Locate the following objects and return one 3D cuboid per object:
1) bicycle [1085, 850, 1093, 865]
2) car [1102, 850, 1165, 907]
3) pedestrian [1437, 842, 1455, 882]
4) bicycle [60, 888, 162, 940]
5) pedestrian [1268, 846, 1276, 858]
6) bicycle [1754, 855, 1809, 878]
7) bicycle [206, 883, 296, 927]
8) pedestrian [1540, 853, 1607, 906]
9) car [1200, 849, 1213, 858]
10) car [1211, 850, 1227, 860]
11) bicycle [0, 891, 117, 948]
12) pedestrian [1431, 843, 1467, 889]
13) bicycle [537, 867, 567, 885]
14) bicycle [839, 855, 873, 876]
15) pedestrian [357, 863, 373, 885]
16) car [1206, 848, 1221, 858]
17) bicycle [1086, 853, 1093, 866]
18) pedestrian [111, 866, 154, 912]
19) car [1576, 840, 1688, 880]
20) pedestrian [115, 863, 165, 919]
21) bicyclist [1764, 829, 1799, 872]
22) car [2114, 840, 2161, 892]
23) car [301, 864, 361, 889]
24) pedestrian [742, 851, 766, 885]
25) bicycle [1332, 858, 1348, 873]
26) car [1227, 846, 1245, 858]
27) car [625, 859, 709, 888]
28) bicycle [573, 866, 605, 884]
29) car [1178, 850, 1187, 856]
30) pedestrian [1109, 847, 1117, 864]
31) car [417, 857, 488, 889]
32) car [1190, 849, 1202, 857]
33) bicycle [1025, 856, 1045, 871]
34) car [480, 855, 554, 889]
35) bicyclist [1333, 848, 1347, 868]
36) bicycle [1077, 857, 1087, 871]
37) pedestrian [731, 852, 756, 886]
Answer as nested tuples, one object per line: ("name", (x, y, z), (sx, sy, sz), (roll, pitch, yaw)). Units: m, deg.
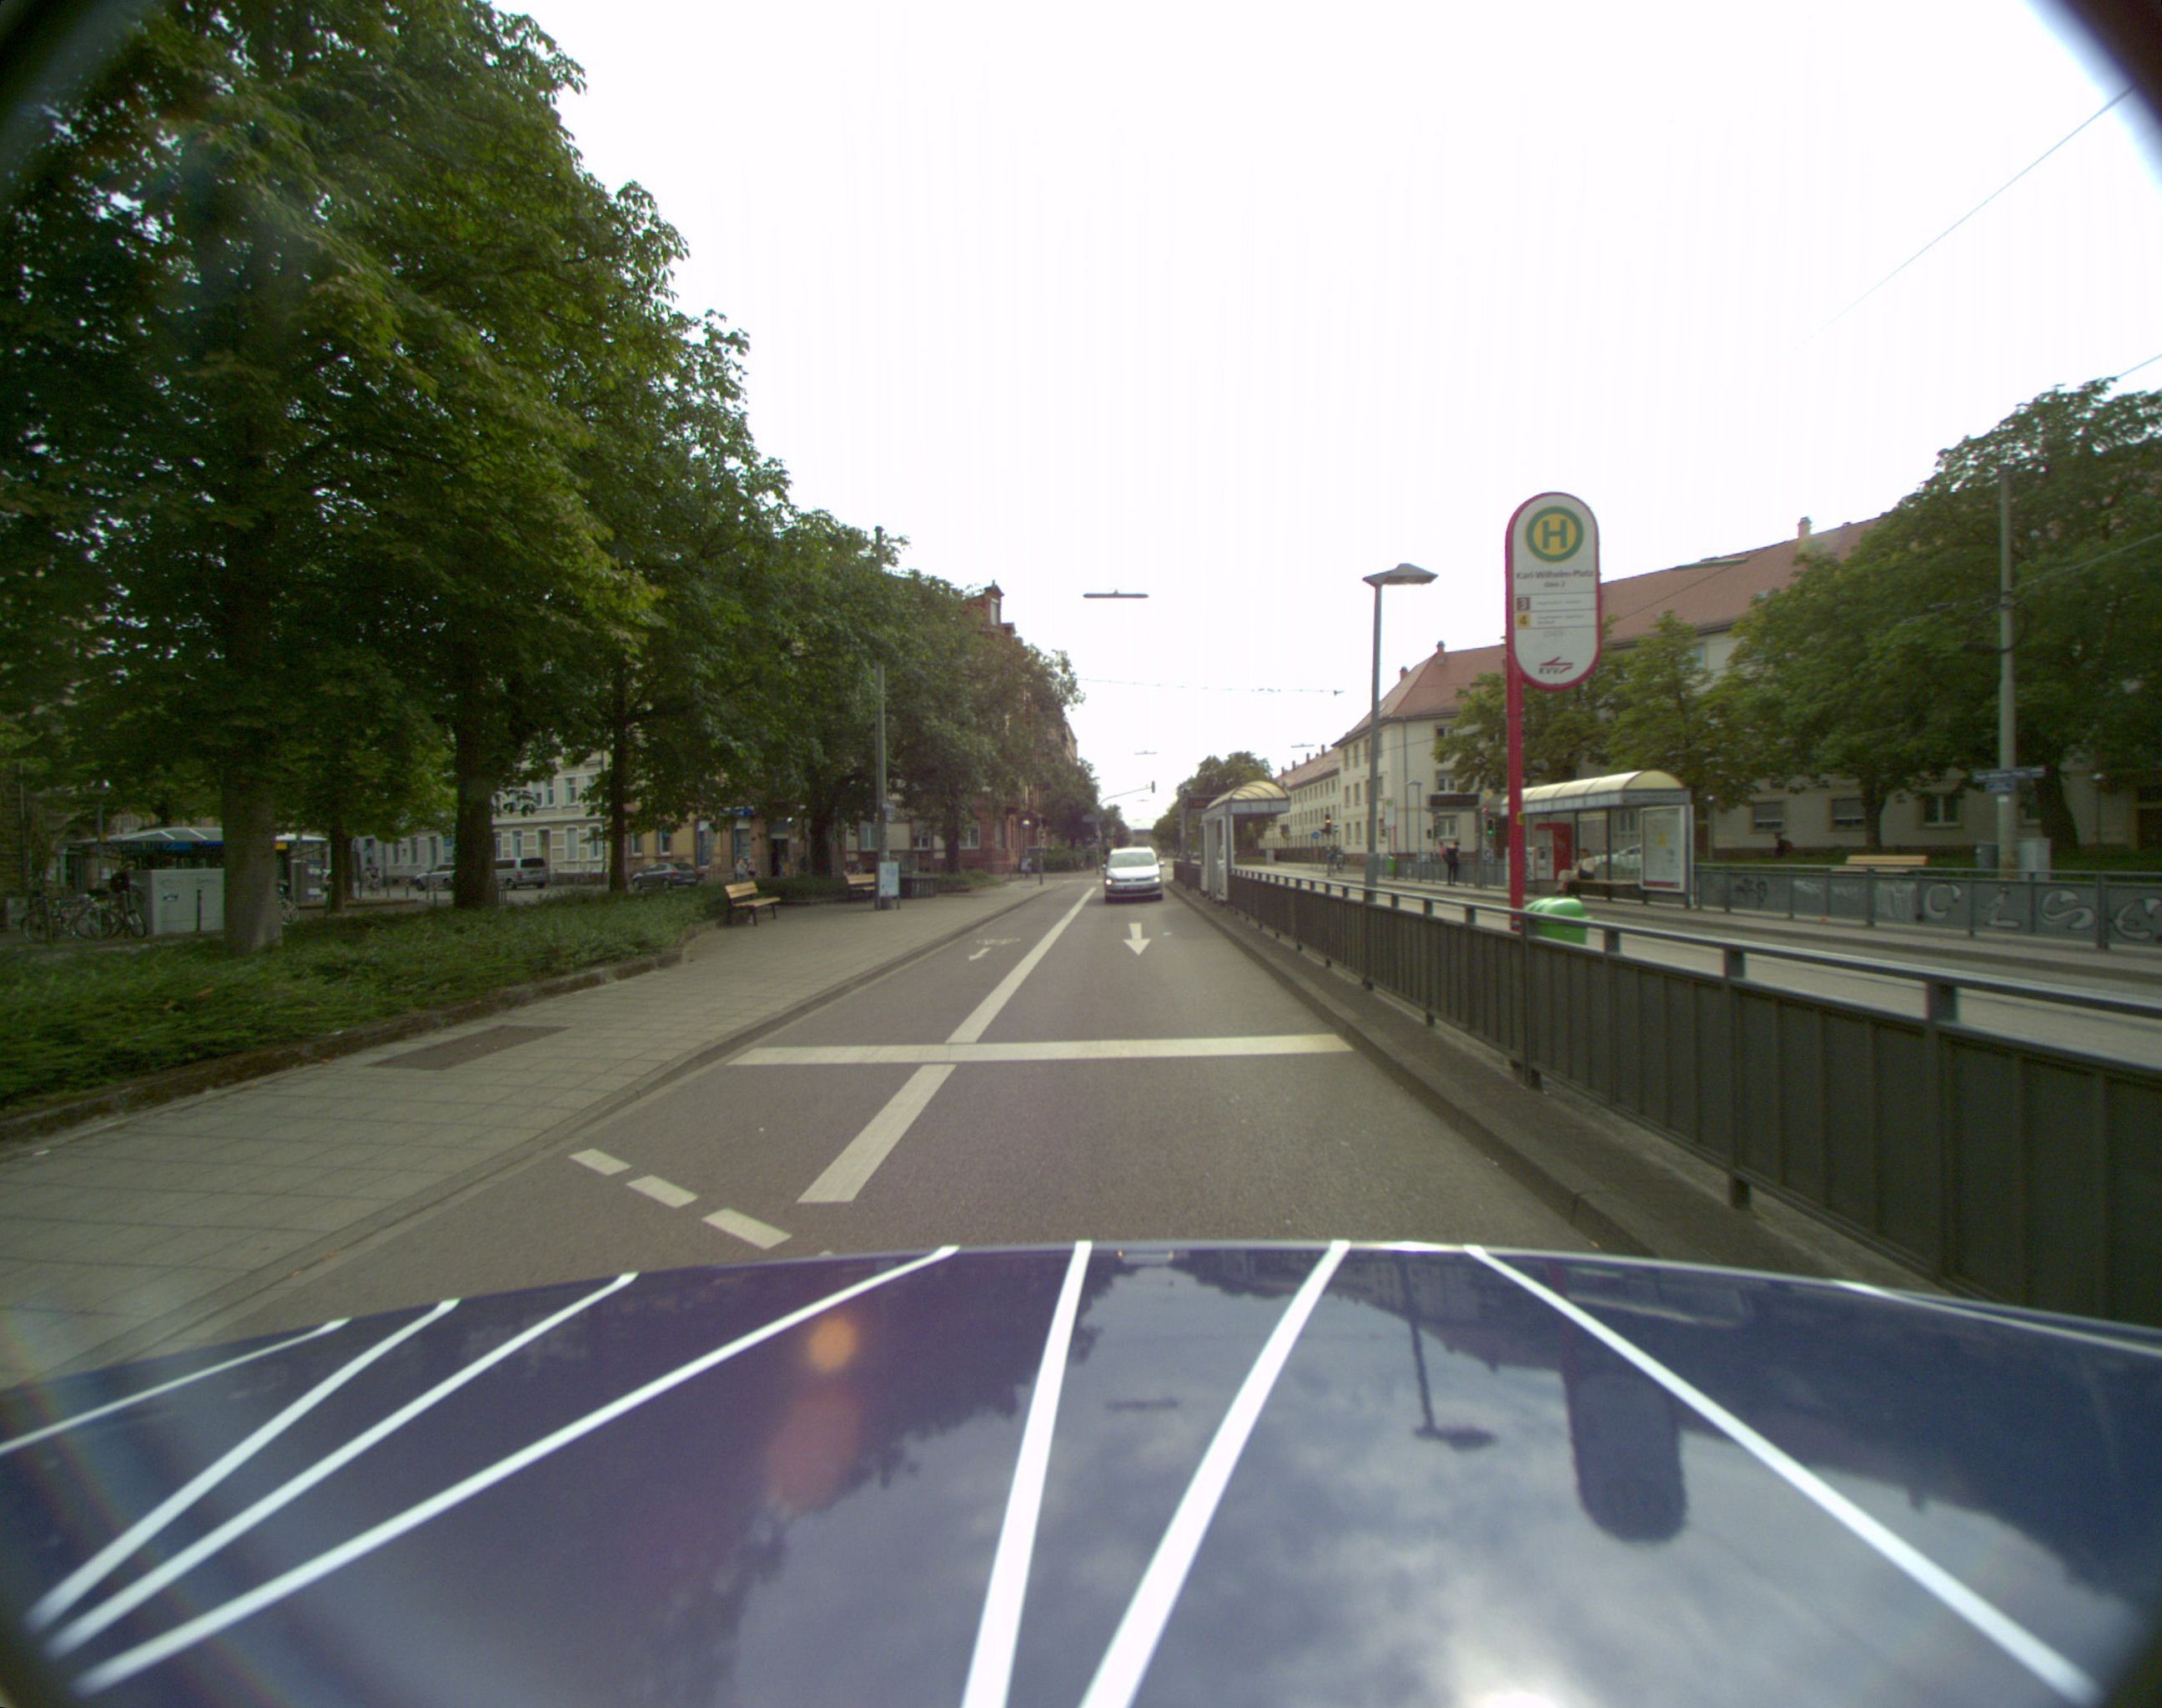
("bicycle", (0.726, 0.320, 69.155), (0.517, 1.274, 1.550), (-1, 0, 6))
("car", (1.767, 0.711, 25.263), (1.875, 1.670, 5.132), (-1, 1, 4))
("pedestrian", (17.468, 0.366, 36.351), (0.731, 1.889, 0.836), (0, 1, 22))
("bicycle", (-21.743, 1.344, 17.045), (1.891, 1.121, 0.533), (-1, 1, 9))
("pedestrian", (23.120, -0.222, 91.929), (0.835, 1.503, 0.732), (-1, 1, -2))
("bicycle", (29.095, 0.497, 31.591), (0.609, 0.931, 1.573), (-1, 0, -24))
("bicycle", (-21.959, 1.350, 20.109), (1.891, 1.121, 0.533), (-1, 1, 5))
("pedestrian", (12.531, 0.637, 19.354), (1.061, 1.286, 0.985), (-1, 1, -2))
("car", (21.283, -0.131, 129.024), (1.701, 1.462, 4.300), (-1, 0, 1))
("car", (19.668, 0.110, 108.253), (1.700, 1.415, 4.301), (-2, 0, 3))
("bicycle", (-21.914, 1.382, 16.151), (1.893, 1.121, 0.532), (-1, 1, -8))
("pedestrian", (13.196, 0.416, 27.247), (0.854, 1.611, 0.843), (-1, 1, -2))
("bicycle", (-34.572, 1.418, 49.648), (1.935, 1.114, 0.674), (0, 1, 22))
("bicycle", (-12.467, 0.645, 42.072), (1.671, 1.137, 0.673), (-1, 1, -5))
("pedestrian", (-55.134, 1.535, 58.477), (0.731, 1.744, 0.648), (0, 1, 25))
("car", (20.871, -0.142, 119.894), (1.789, 1.602, 4.301), (-1, 0, 3))
("bicycle", (0.709, 0.448, 62.816), (0.509, 1.082, 1.550), (2, 1, 4))
("pedestrian", (-34.017, 1.235, 27.245), (0.833, 1.614, 0.734), (-1, 1, 23))
("car", (26.506, 0.233, 36.630), (4.146, 1.712, 1.844), (2, 4, 43))
("pedestrian", (-28.578, 1.102, 23.081), (0.833, 1.666, 0.734), (-1, 1, 23))
("bicyclist", (29.094, -0.155, 31.569), (0.613, 1.765, 0.909), (-1, 1, -24))
("car", (34.450, 0.351, 22.358), (2.214, 1.569, 4.341), (-1, 1, -18))
("car", (-54.828, 1.633, 55.540), (3.990, 1.740, 1.821), (-1, 1, 25))
("pedestrian", (-17.266, 0.729, 40.123), (0.891, 1.719, 0.759), (1, 1, 27))
("bicycle", (17.285, 0.742, 50.723), (0.662, 0.943, 1.550), (-1, 1, 4))
("car", (20.360, -0.235, 100.035), (1.700, 1.415, 4.301), (-4, 0, 3))
("car", (-21.721, 1.028, 39.873), (3.990, 1.433, 1.821), (-1, 1, 25))
("bicycle", (-31.029, 1.311, 47.918), (1.935, 1.114, 0.674), (0, 1, 22))
("car", (24.735, -0.332, 185.640), (1.731, 1.462, 4.300), (-1, 0, 1))
("pedestrian", (3.407, 0.165, 79.970), (0.732, 1.744, 0.950), (-1, 1, 8))
("car", (-40.023, 1.223, 48.369), (4.145, 1.932, 1.821), (-1, 1, 25))
("car", (22.424, -0.182, 148.359), (1.701, 1.462, 4.300), (-1, 1, 1))
("bicycle", (-3.214, 0.665, 53.333), (0.509, 0.964, 1.553), (0, 1, 36))
("car", (-34.350, 1.053, 46.253), (3.990, 1.969, 1.871), (-1, 1, 25))
("bicyclist", (17.281, 0.253, 50.716), (0.662, 1.332, 0.836), (-1, 1, 4))
("bicycle", (0.113, 0.783, 60.131), (0.672, 1.100, 1.672), (-1, 0, 4))
("pedestrian", (-17.356, 0.773, 39.058), (0.730, 1.719, 0.895), (1, 1, 36))
